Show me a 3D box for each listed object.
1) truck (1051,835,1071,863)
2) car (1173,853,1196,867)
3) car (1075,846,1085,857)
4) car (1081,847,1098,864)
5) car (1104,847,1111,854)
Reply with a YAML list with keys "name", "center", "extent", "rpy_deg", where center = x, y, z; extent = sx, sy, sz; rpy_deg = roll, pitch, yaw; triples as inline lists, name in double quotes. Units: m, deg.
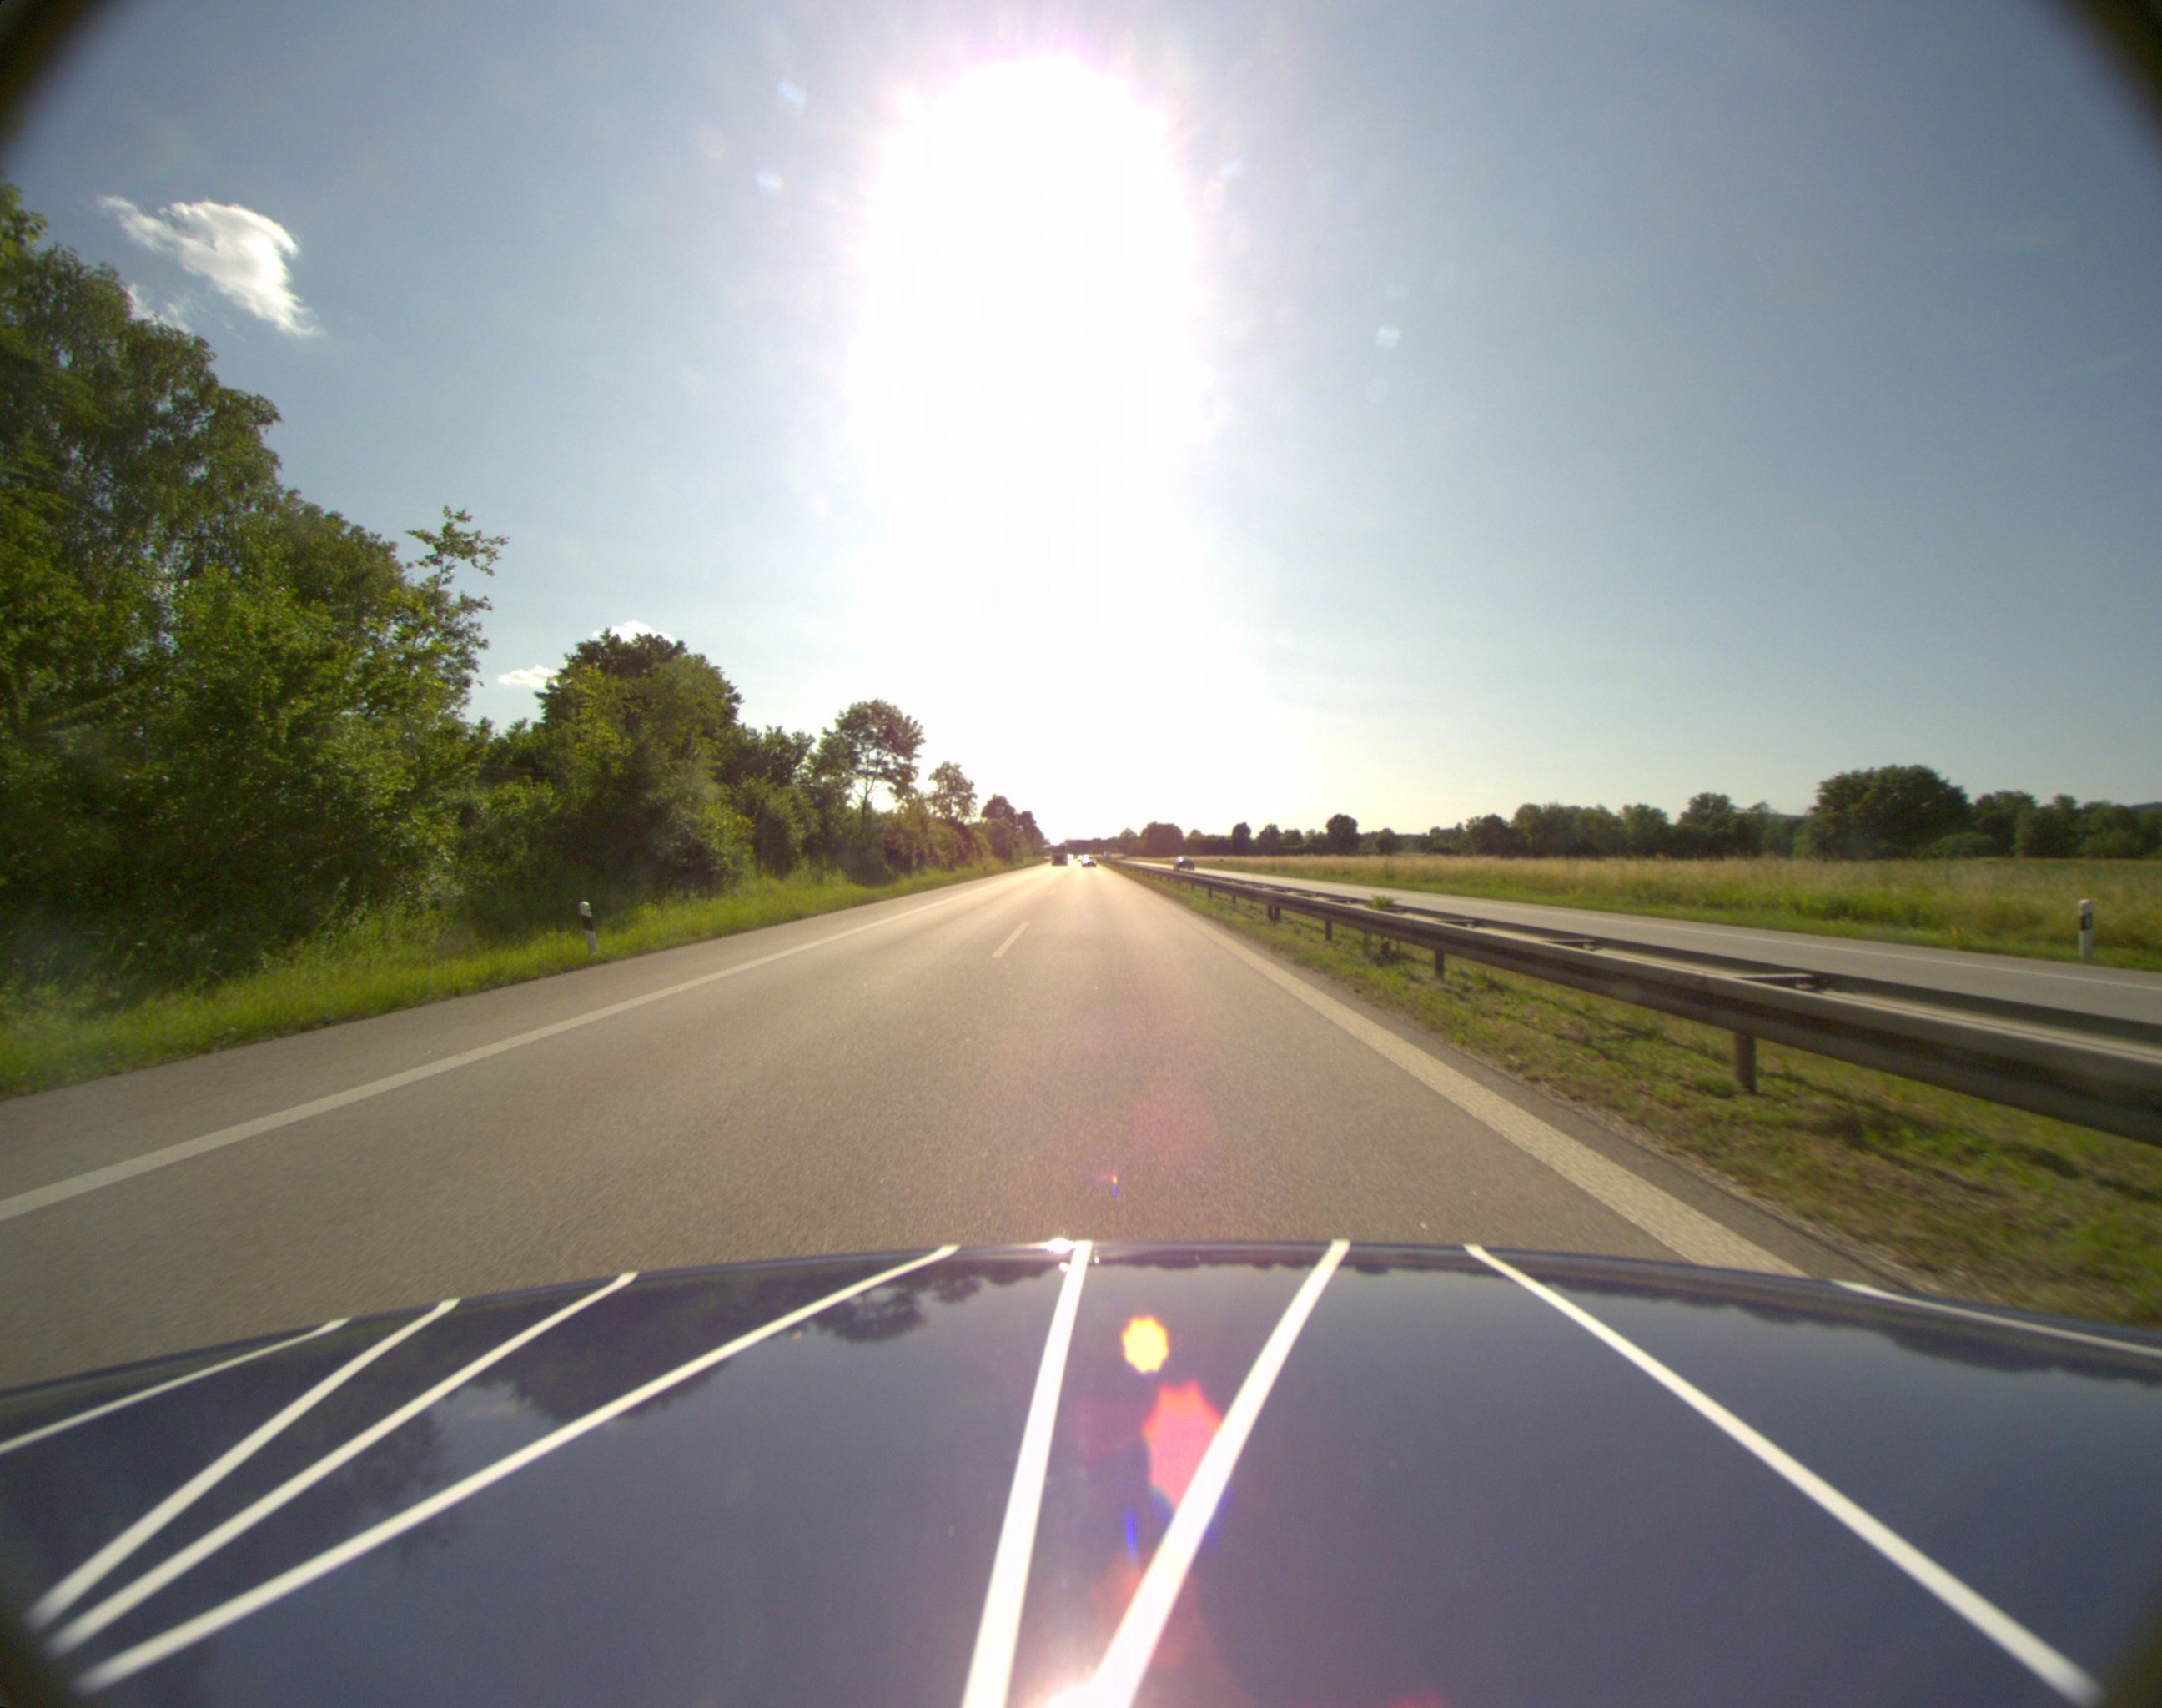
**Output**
- name: "truck"
  center: [-3.137, -0.806, 122.129]
  extent: [2.759, 4.242, 8.492]
  rpy_deg: [-2, 1, 0]
- name: "car"
  center: [10.932, 0.618, 80.437]
  extent: [1.774, 1.476, 4.913]
  rpy_deg: [0, 0, 1]
- name: "car"
  center: [-0.279, -0.536, 176.658]
  extent: [2.193, 2.502, 5.351]
  rpy_deg: [-2, 1, 0]
- name: "car"
  center: [1.102, 0.221, 95.082]
  extent: [1.998, 2.002, 4.358]
  rpy_deg: [-2, 1, 1]
- name: "car"
  center: [9.195, -1.302, 265.594]
  extent: [2.193, 2.502, 5.351]
  rpy_deg: [-2, 1, 0]
